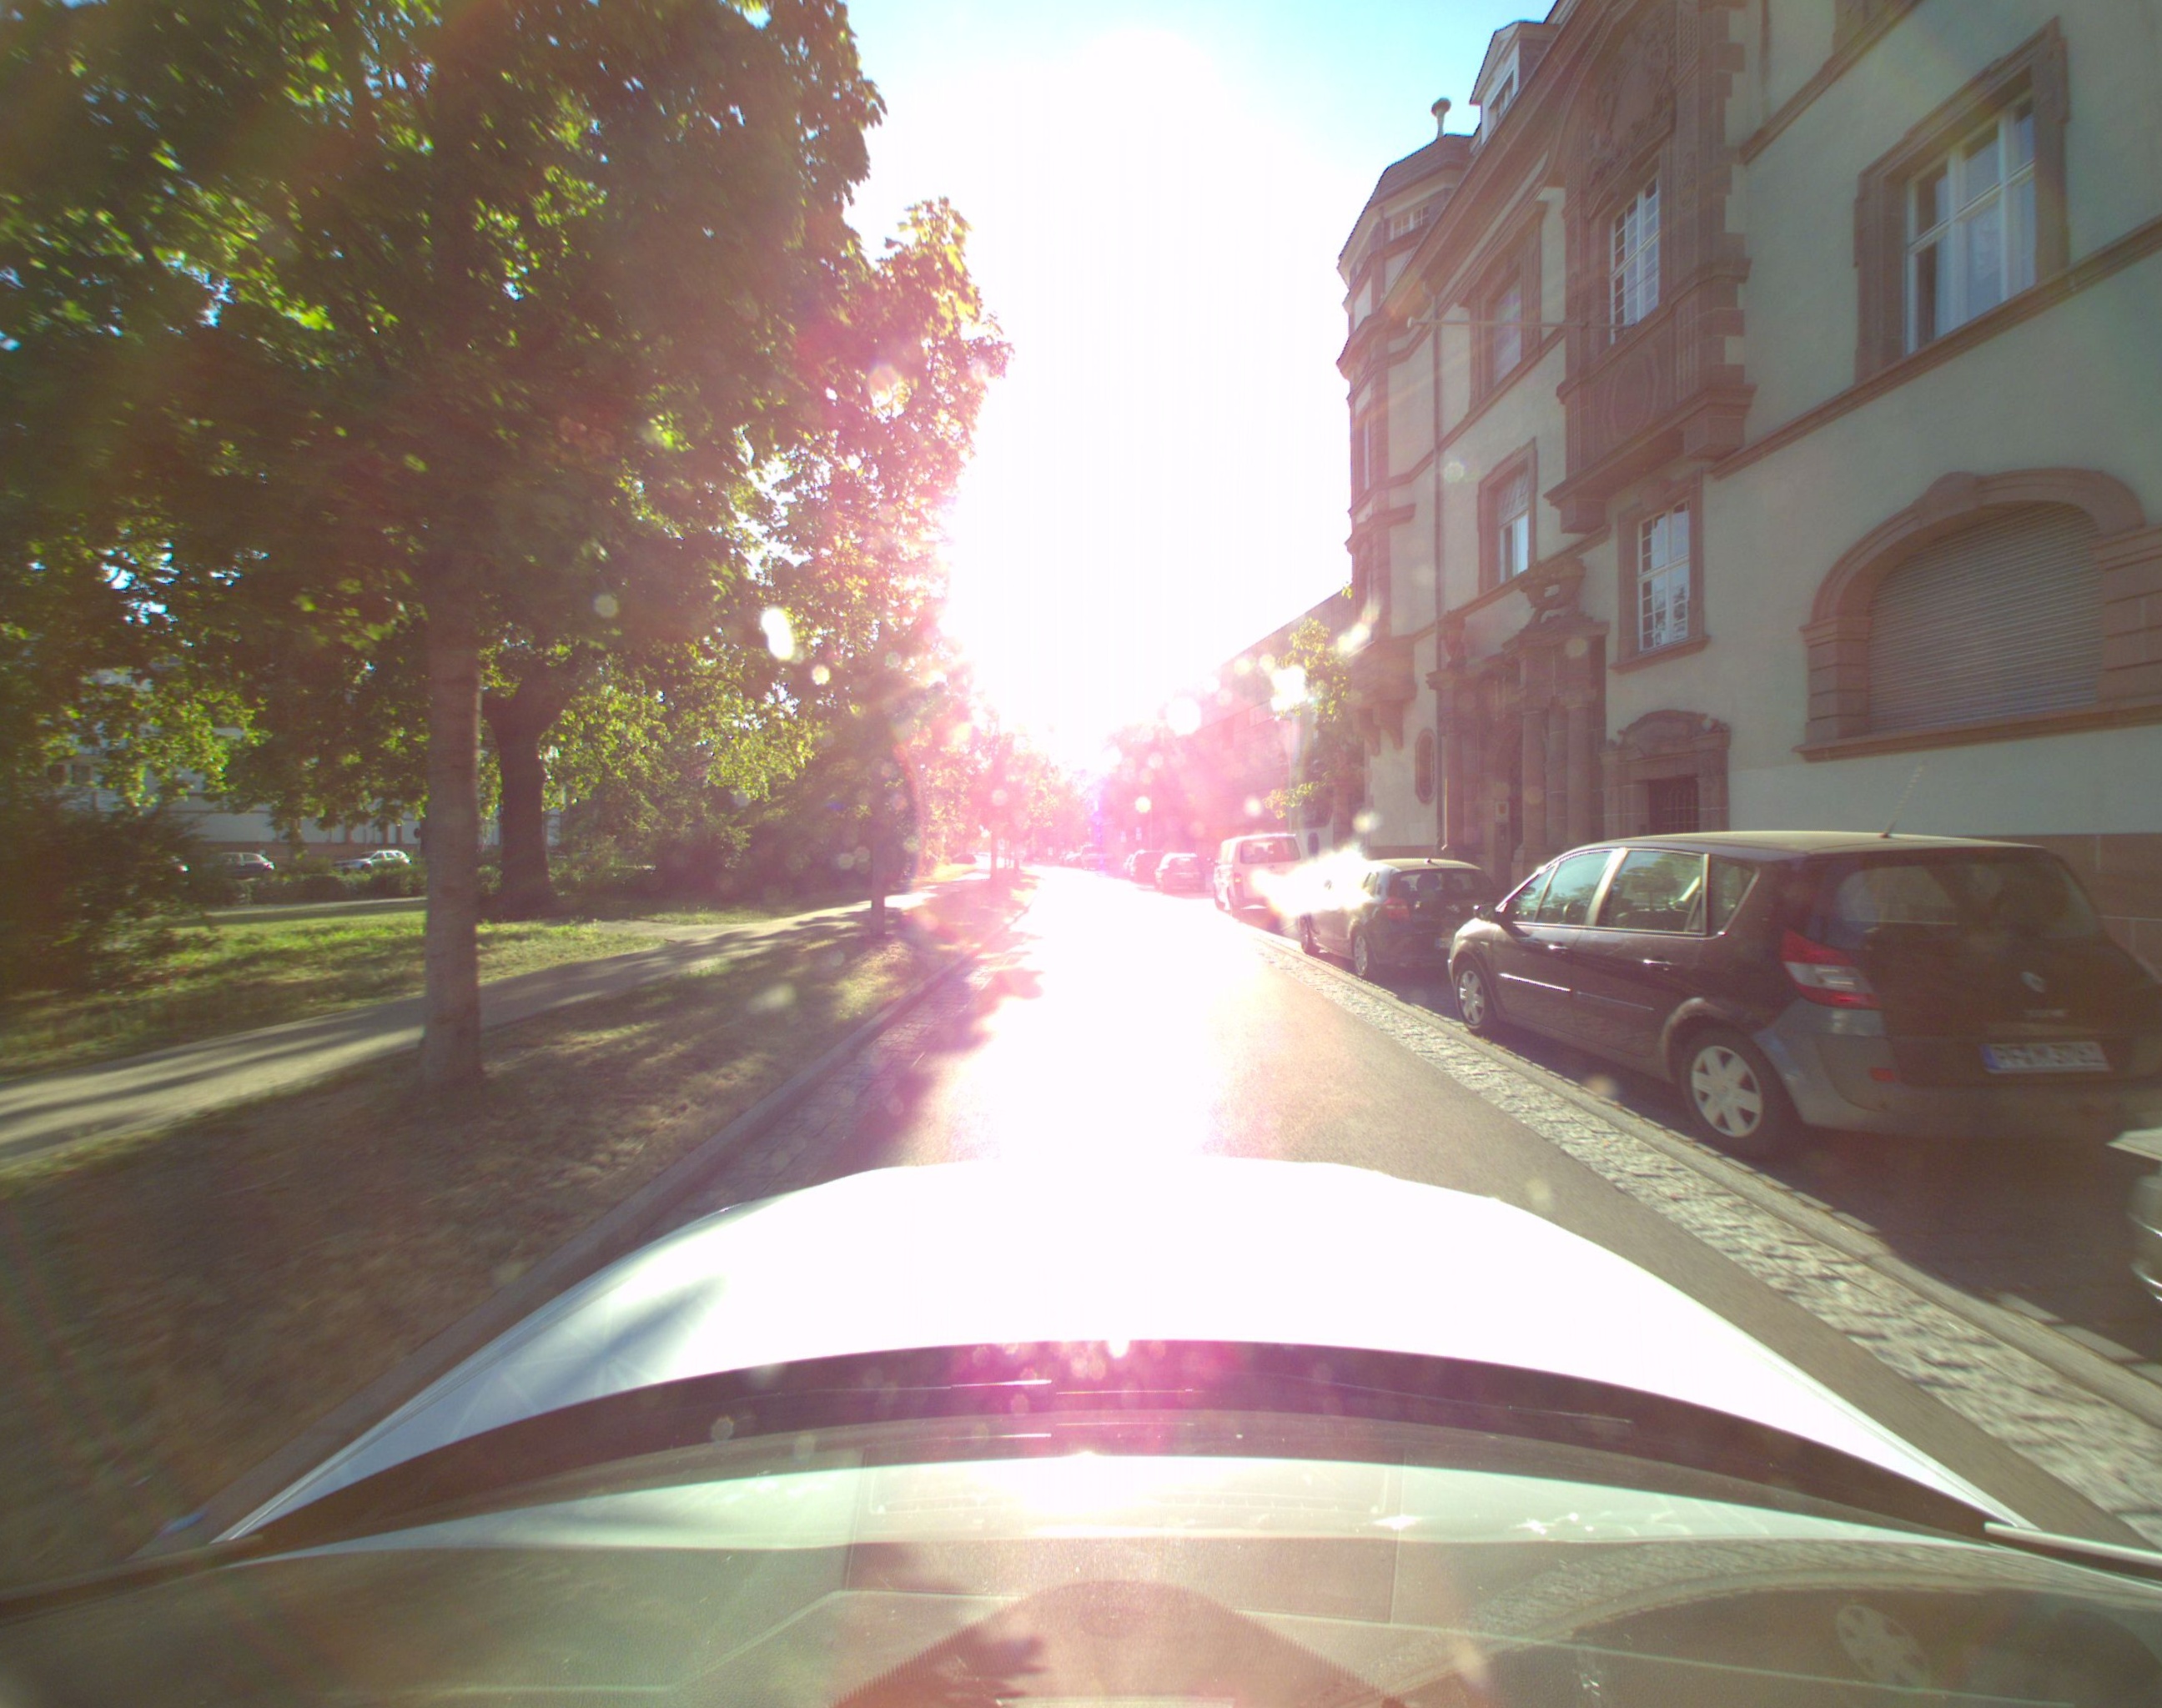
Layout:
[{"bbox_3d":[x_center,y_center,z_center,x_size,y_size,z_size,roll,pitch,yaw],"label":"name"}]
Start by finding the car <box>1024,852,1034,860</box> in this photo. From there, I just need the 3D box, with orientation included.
[{"bbox_3d":[-9.412,0.367,147.498,1.790,1.510,3.995,0,0,-4],"label":"car"}]

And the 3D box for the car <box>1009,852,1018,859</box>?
[{"bbox_3d":[-14.666,0.306,176.581,1.792,1.510,3.991,0,0,-6],"label":"car"}]

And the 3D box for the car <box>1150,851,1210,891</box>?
[{"bbox_3d":[3.998,0.632,33.642,1.743,1.466,4.473,-2,0,-2],"label":"car"}]

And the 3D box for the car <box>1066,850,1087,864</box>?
[{"bbox_3d":[-0.530,0.307,89.341,1.690,1.440,4.093,-1,0,-8],"label":"car"}]

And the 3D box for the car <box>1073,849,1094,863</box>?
[{"bbox_3d":[0.213,0.197,84.019,1.690,1.440,3.541,-1,0,-8],"label":"car"}]

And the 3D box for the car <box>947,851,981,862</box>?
[{"bbox_3d":[-14.809,0.292,103.192,4.016,1.420,1.753,0,0,-34],"label":"car"}]

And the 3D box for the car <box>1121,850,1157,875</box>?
[{"bbox_3d":[3.530,0.496,49.950,1.720,1.421,3.902,-2,1,-3],"label":"car"}]

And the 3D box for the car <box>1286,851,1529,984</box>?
[{"bbox_3d":[4.124,0.692,11.079,1.673,1.403,4.201,-2,0,1],"label":"car"}]

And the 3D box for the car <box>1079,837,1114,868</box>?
[{"bbox_3d":[1.319,-0.155,72.968,2.209,2.530,6.134,-3,1,-6],"label":"car"}]

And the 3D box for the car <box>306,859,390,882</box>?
[{"bbox_3d":[-44.647,0.989,49.706,1.629,1.315,3.860,1,0,-1],"label":"car"}]

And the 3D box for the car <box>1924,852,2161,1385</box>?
[{"bbox_3d":[3.868,0.717,0.580,1.865,1.436,4.523,-2,0,1],"label":"car"}]

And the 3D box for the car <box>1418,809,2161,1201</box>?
[{"bbox_3d":[4.089,0.619,5.541,1.810,1.602,4.191,-2,0,0],"label":"car"}]

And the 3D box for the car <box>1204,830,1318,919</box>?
[{"bbox_3d":[4.595,0.436,21.527,1.986,1.966,4.852,-4,1,2],"label":"car"}]

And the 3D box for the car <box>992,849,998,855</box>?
[{"bbox_3d":[-26.854,-0.556,253.867,1.992,1.969,3.990,1,0,-7],"label":"car"}]

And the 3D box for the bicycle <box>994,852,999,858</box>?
[{"bbox_3d":[-16.550,0.217,159.494,0.687,1.202,2.341,0,2,-4],"label":"bicycle"}]

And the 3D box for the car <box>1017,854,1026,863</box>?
[{"bbox_3d":[-11.787,0.844,161.017,1.792,1.724,3.991,0,0,-6],"label":"car"}]

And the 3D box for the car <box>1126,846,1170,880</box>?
[{"bbox_3d":[3.583,0.432,43.992,1.721,1.669,4.108,-2,1,-4],"label":"car"}]
